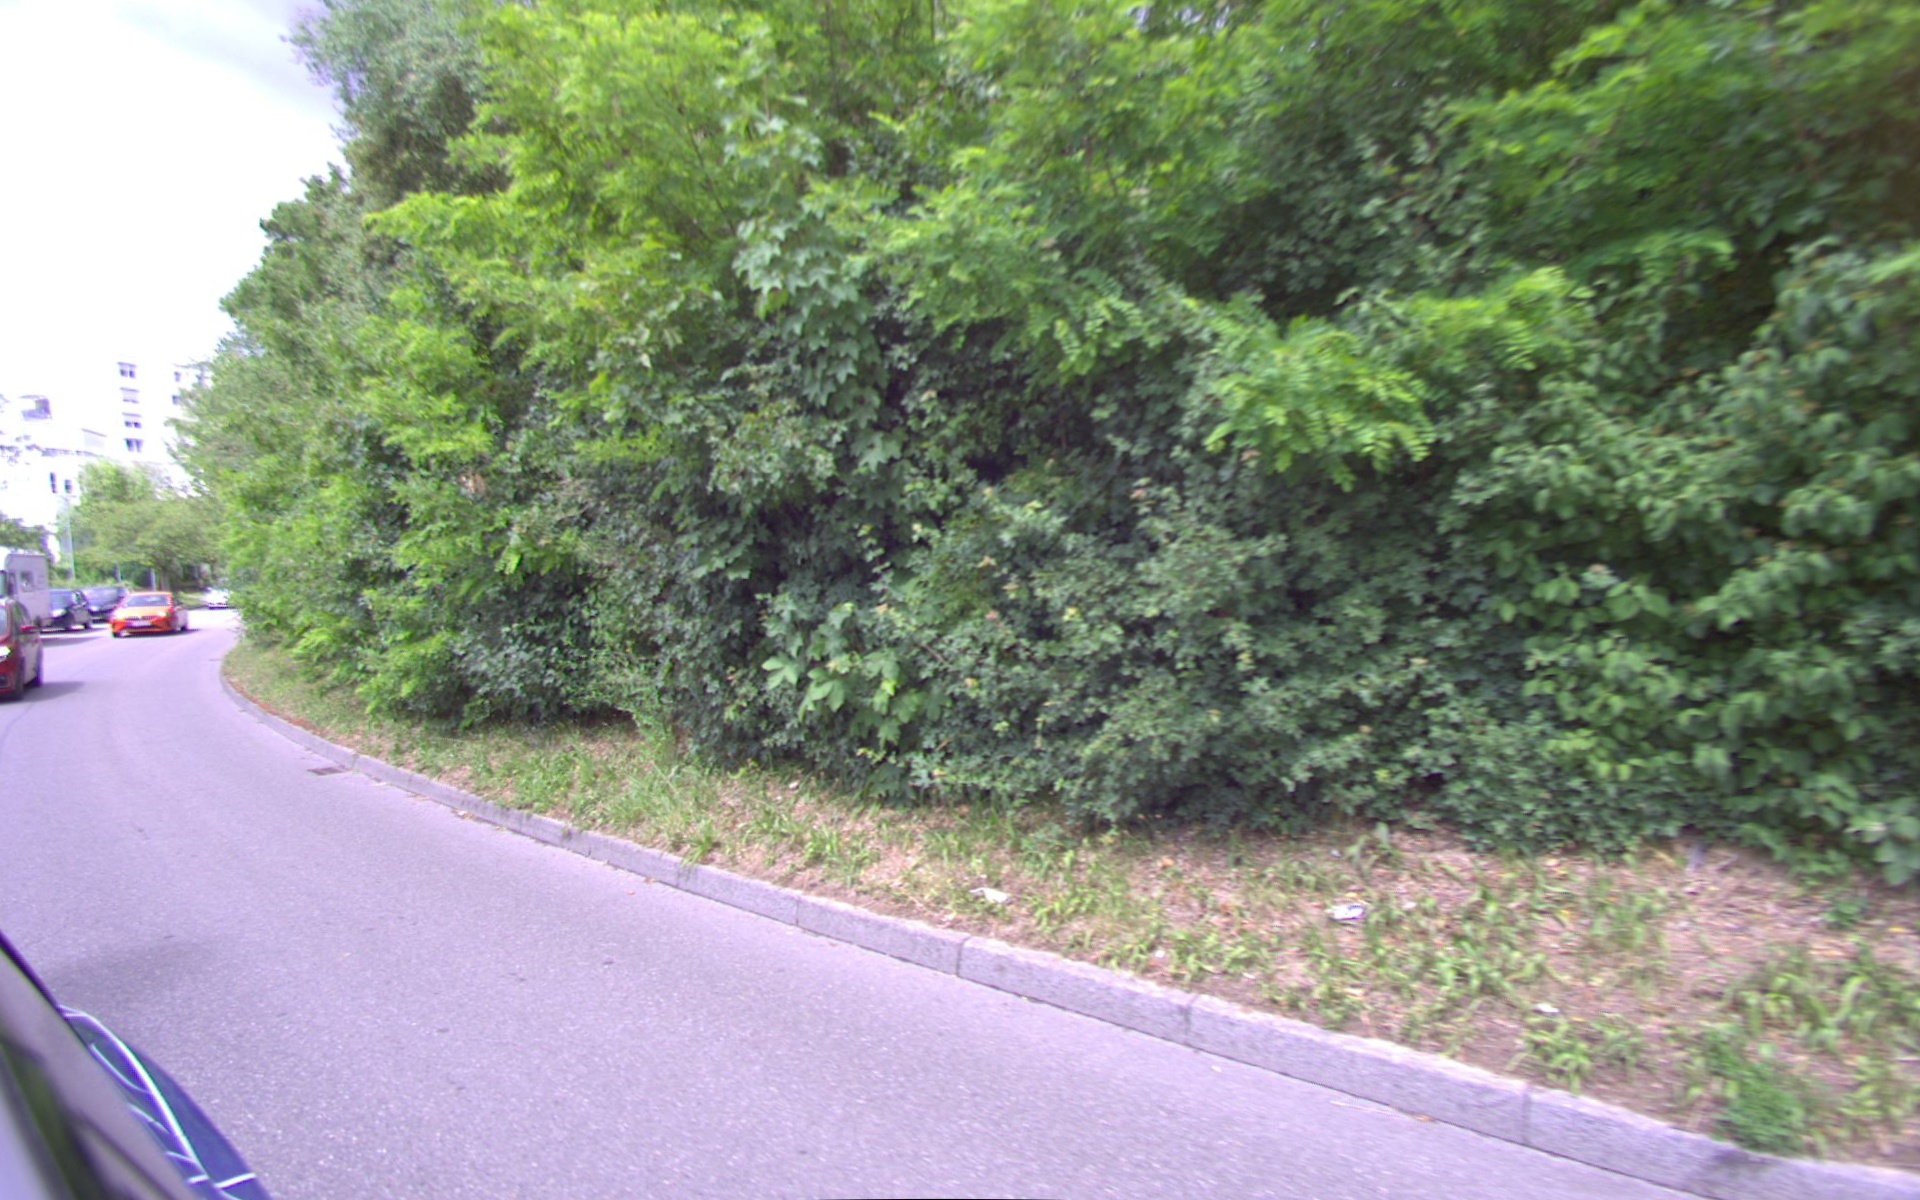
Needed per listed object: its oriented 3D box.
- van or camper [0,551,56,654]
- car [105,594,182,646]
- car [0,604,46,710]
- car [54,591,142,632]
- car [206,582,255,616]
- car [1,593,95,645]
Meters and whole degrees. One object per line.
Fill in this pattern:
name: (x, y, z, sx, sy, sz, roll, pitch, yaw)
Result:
van or camper: (-29.221, 0.086, 29.988, 2.301, 2.890, 6.169, -5, 4, -31)
car: (-27.796, 0.625, 34.407, 1.834, 1.453, 4.007, -6, 5, -40)
car: (-16.322, 0.884, 16.455, 1.784, 1.621, 3.731, -1, 0, -36)
car: (-35.916, 0.431, 42.298, 1.751, 1.445, 4.348, -3, 3, -26)
car: (-38.017, -0.079, 52.827, 1.752, 1.462, 4.012, -5, 5, -32)
car: (-32.739, 0.635, 36.439, 1.705, 1.530, 3.901, -3, 4, -31)
